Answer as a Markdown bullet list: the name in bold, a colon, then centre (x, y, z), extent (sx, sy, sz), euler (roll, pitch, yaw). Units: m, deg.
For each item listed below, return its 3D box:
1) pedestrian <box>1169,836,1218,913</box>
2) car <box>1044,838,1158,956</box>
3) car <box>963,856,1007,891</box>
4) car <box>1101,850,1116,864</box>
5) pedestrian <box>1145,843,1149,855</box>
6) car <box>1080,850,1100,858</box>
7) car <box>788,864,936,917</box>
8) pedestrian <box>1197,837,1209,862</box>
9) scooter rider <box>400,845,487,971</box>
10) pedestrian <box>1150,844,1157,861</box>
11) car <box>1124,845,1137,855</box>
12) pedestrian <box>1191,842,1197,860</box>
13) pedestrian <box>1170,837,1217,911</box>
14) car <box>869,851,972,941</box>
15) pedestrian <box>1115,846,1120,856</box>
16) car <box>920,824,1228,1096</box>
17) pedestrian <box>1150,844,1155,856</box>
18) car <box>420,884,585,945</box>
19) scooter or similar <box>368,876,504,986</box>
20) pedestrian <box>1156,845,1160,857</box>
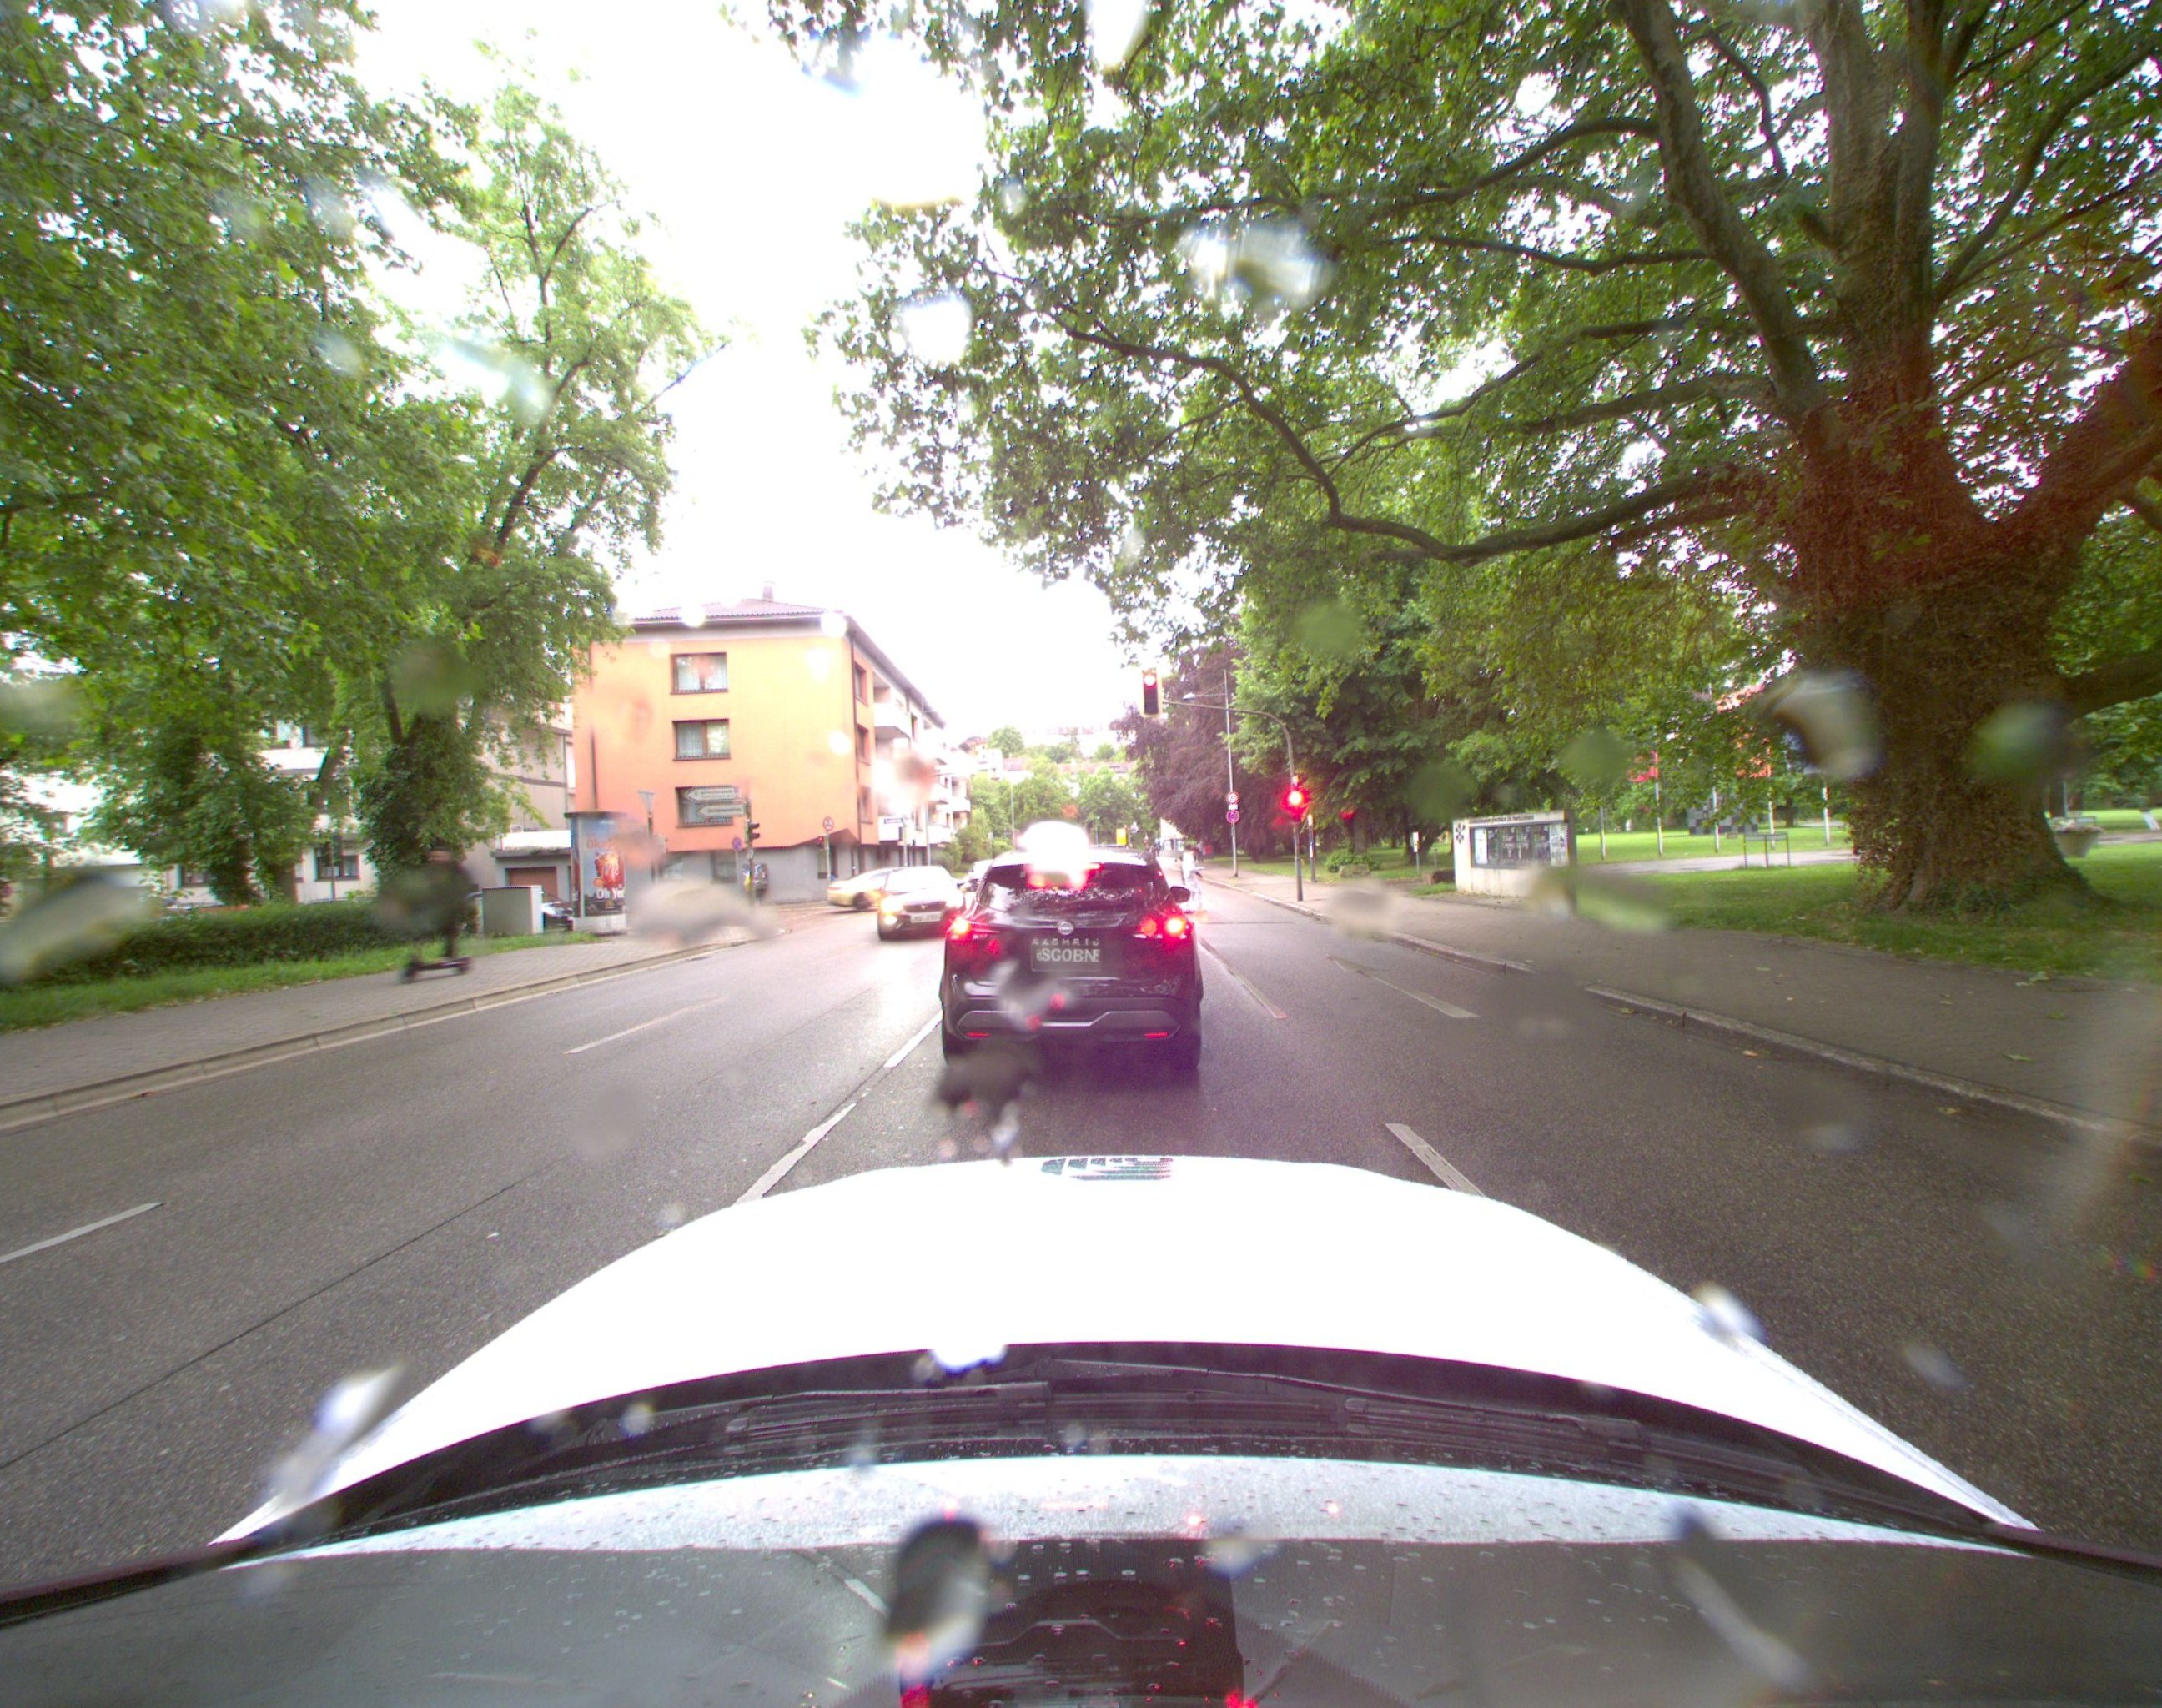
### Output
- **pedestrian**: centre (2.835, 0.506, 20.570), extent (1.035, 1.876, 0.656), euler (-1, -1, -9)
- **car**: centre (0.379, 0.671, 14.603), extent (1.692, 1.745, 3.642), euler (-3, 0, 2)
- **car**: centre (-4.798, 0.949, 41.169), extent (1.791, 1.533, 3.865), euler (-3, 0, -2)
- **car**: centre (3.318, 0.334, 98.761), extent (1.628, 1.532, 3.969), euler (-3, 0, 2)
- **pedestrian**: centre (10.042, -0.821, 123.356), extent (0.506, 1.802, 0.620), euler (-3, 0, 1)
- **car**: centre (1.795, -0.034, 169.243), extent (3.987, 1.532, 1.621), euler (-3, 0, -38)
- **car**: centre (-7.441, 1.205, 27.767), extent (4.648, 1.403, 1.821), euler (-4, 0, -18)
- **pedestrian**: centre (9.844, -0.360, 65.799), extent (0.722, 2.013, 0.852), euler (-3, 0, 2)
- **scooter rider**: centre (-9.330, 0.775, 11.940), extent (0.730, 1.766, 0.646), euler (-2, -1, 2)
- **pedestrian**: centre (7.864, -0.159, 88.531), extent (0.510, 1.802, 0.615), euler (-3, 0, -20)
- **car**: centre (8.455, -0.635, 138.063), extent (1.983, 1.735, 4.007), euler (0, 0, 7)
- **pedestrian**: centre (9.753, -0.263, 70.342), extent (0.388, 1.502, 0.559), euler (-3, 0, 2)
- **pedestrian**: centre (2.943, 0.512, 21.302), extent (1.035, 1.876, 0.656), euler (-1, -1, -9)
- **car**: centre (-3.389, 0.816, 17.899), extent (1.844, 1.625, 4.127), euler (-3, 0, -7)
- **pedestrian**: centre (5.990, -0.509, 135.223), extent (0.503, 1.673, 0.663), euler (-3, 0, 29)
- **car**: centre (0.022, 0.661, 7.116), extent (1.906, 1.680, 4.002), euler (-1, 0, 2)
- **pedestrian**: centre (10.760, -0.549, 122.430), extent (0.507, 1.802, 0.659), euler (-3, 0, -1)
- **car**: centre (-18.257, 1.860, 25.907), extent (3.870, 1.533, 1.788), euler (-4, 0, -21)
- **scooter or similar**: centre (-9.328, 1.074, 11.850), extent (0.811, 1.445, 1.399), euler (-1, 0, 1)
- **pedestrian**: centre (11.548, -0.468, 122.507), extent (0.507, 1.802, 0.619), euler (-3, 0, 0)
